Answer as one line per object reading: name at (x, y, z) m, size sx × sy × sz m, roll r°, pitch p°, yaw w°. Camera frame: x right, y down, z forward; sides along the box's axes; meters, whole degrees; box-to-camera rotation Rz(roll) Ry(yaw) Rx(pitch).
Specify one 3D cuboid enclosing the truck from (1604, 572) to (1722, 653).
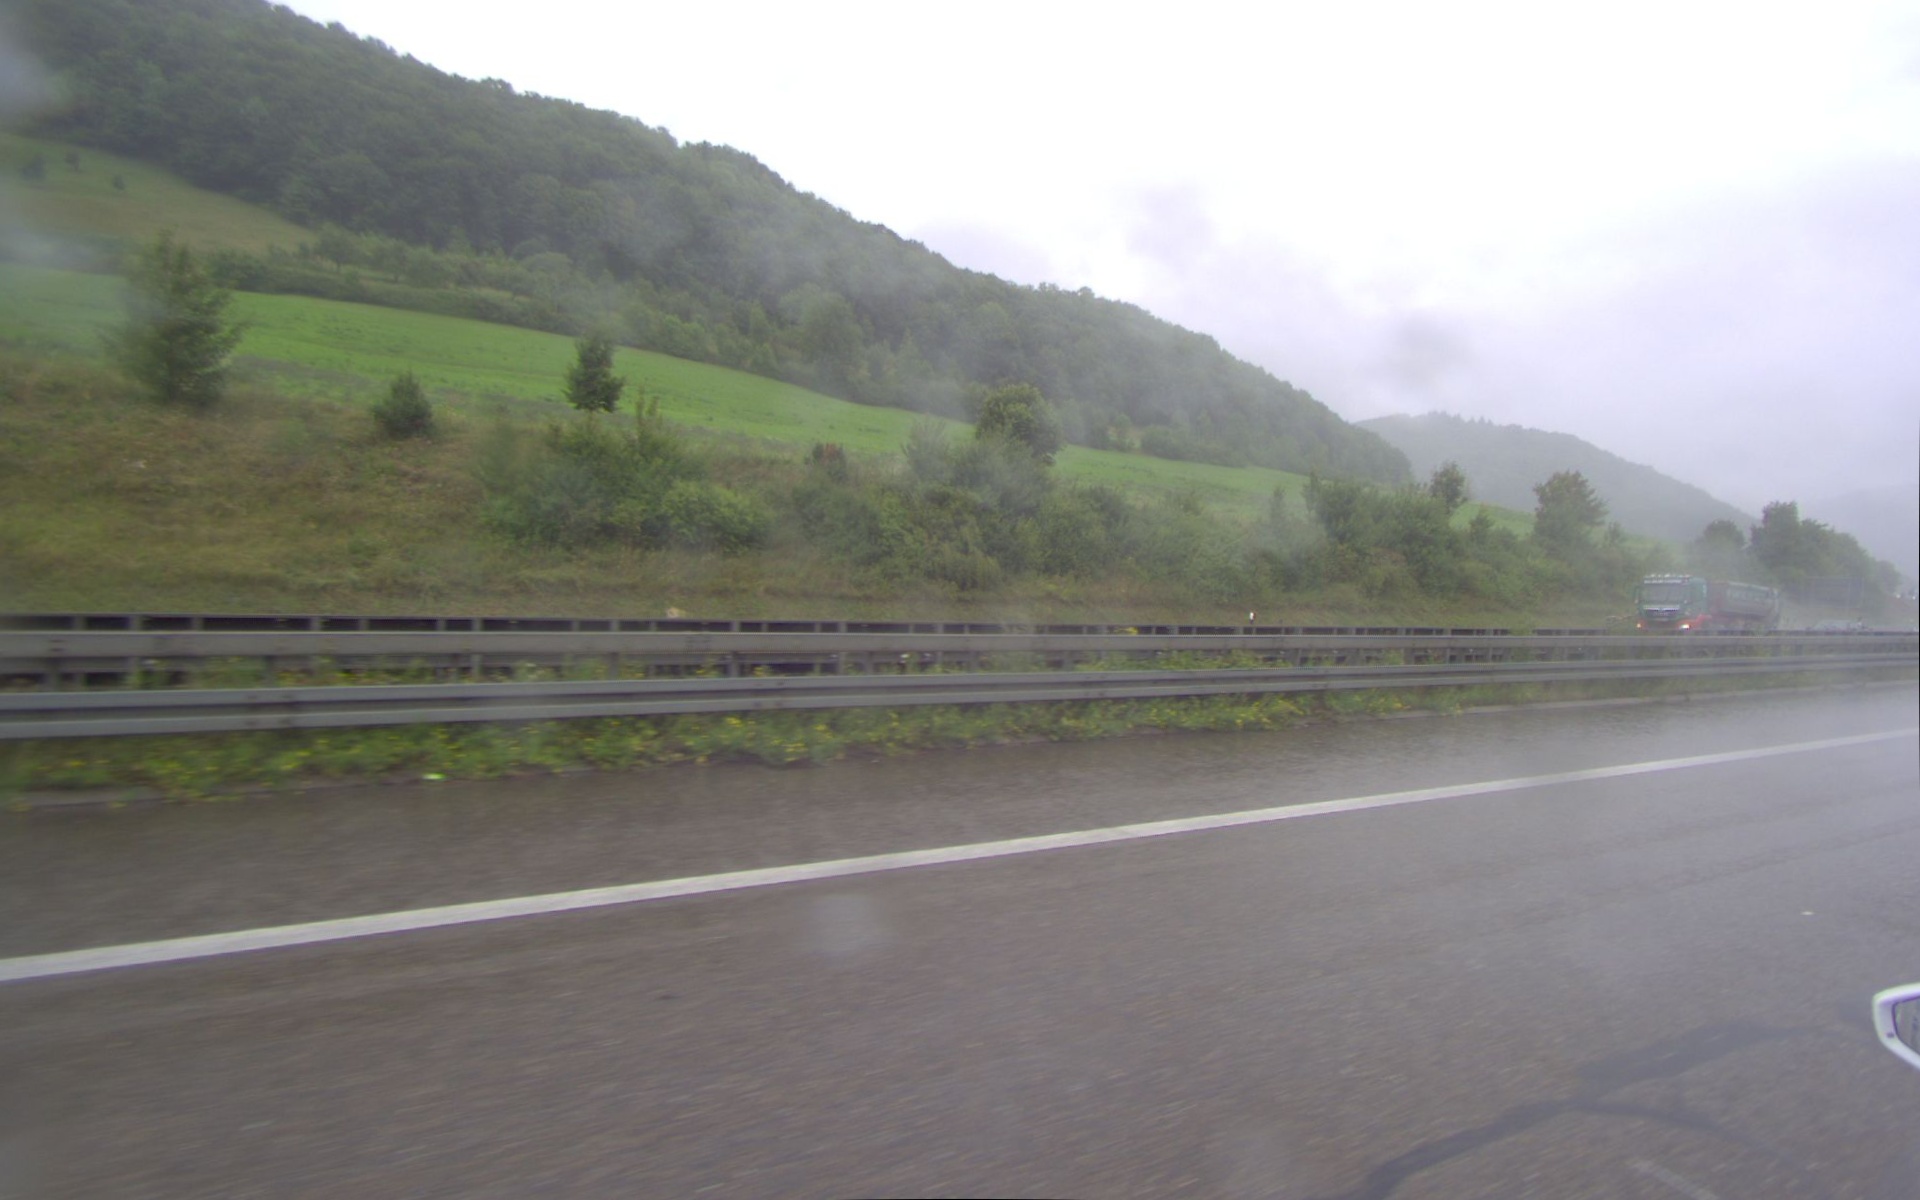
truck at (33.219, 0.597, 47.451) m, size 5.252 × 3.590 × 2.701 m, roll 1°, pitch 0°, yaw -32°

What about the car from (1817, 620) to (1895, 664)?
car at (44.965, 2.069, 50.397) m, size 3.957 × 2.040 × 1.902 m, roll 1°, pitch 0°, yaw -33°

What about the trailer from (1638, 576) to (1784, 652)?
trailer at (37.705, 0.713, 50.303) m, size 9.291 × 3.537 × 2.705 m, roll 1°, pitch 0°, yaw -32°
